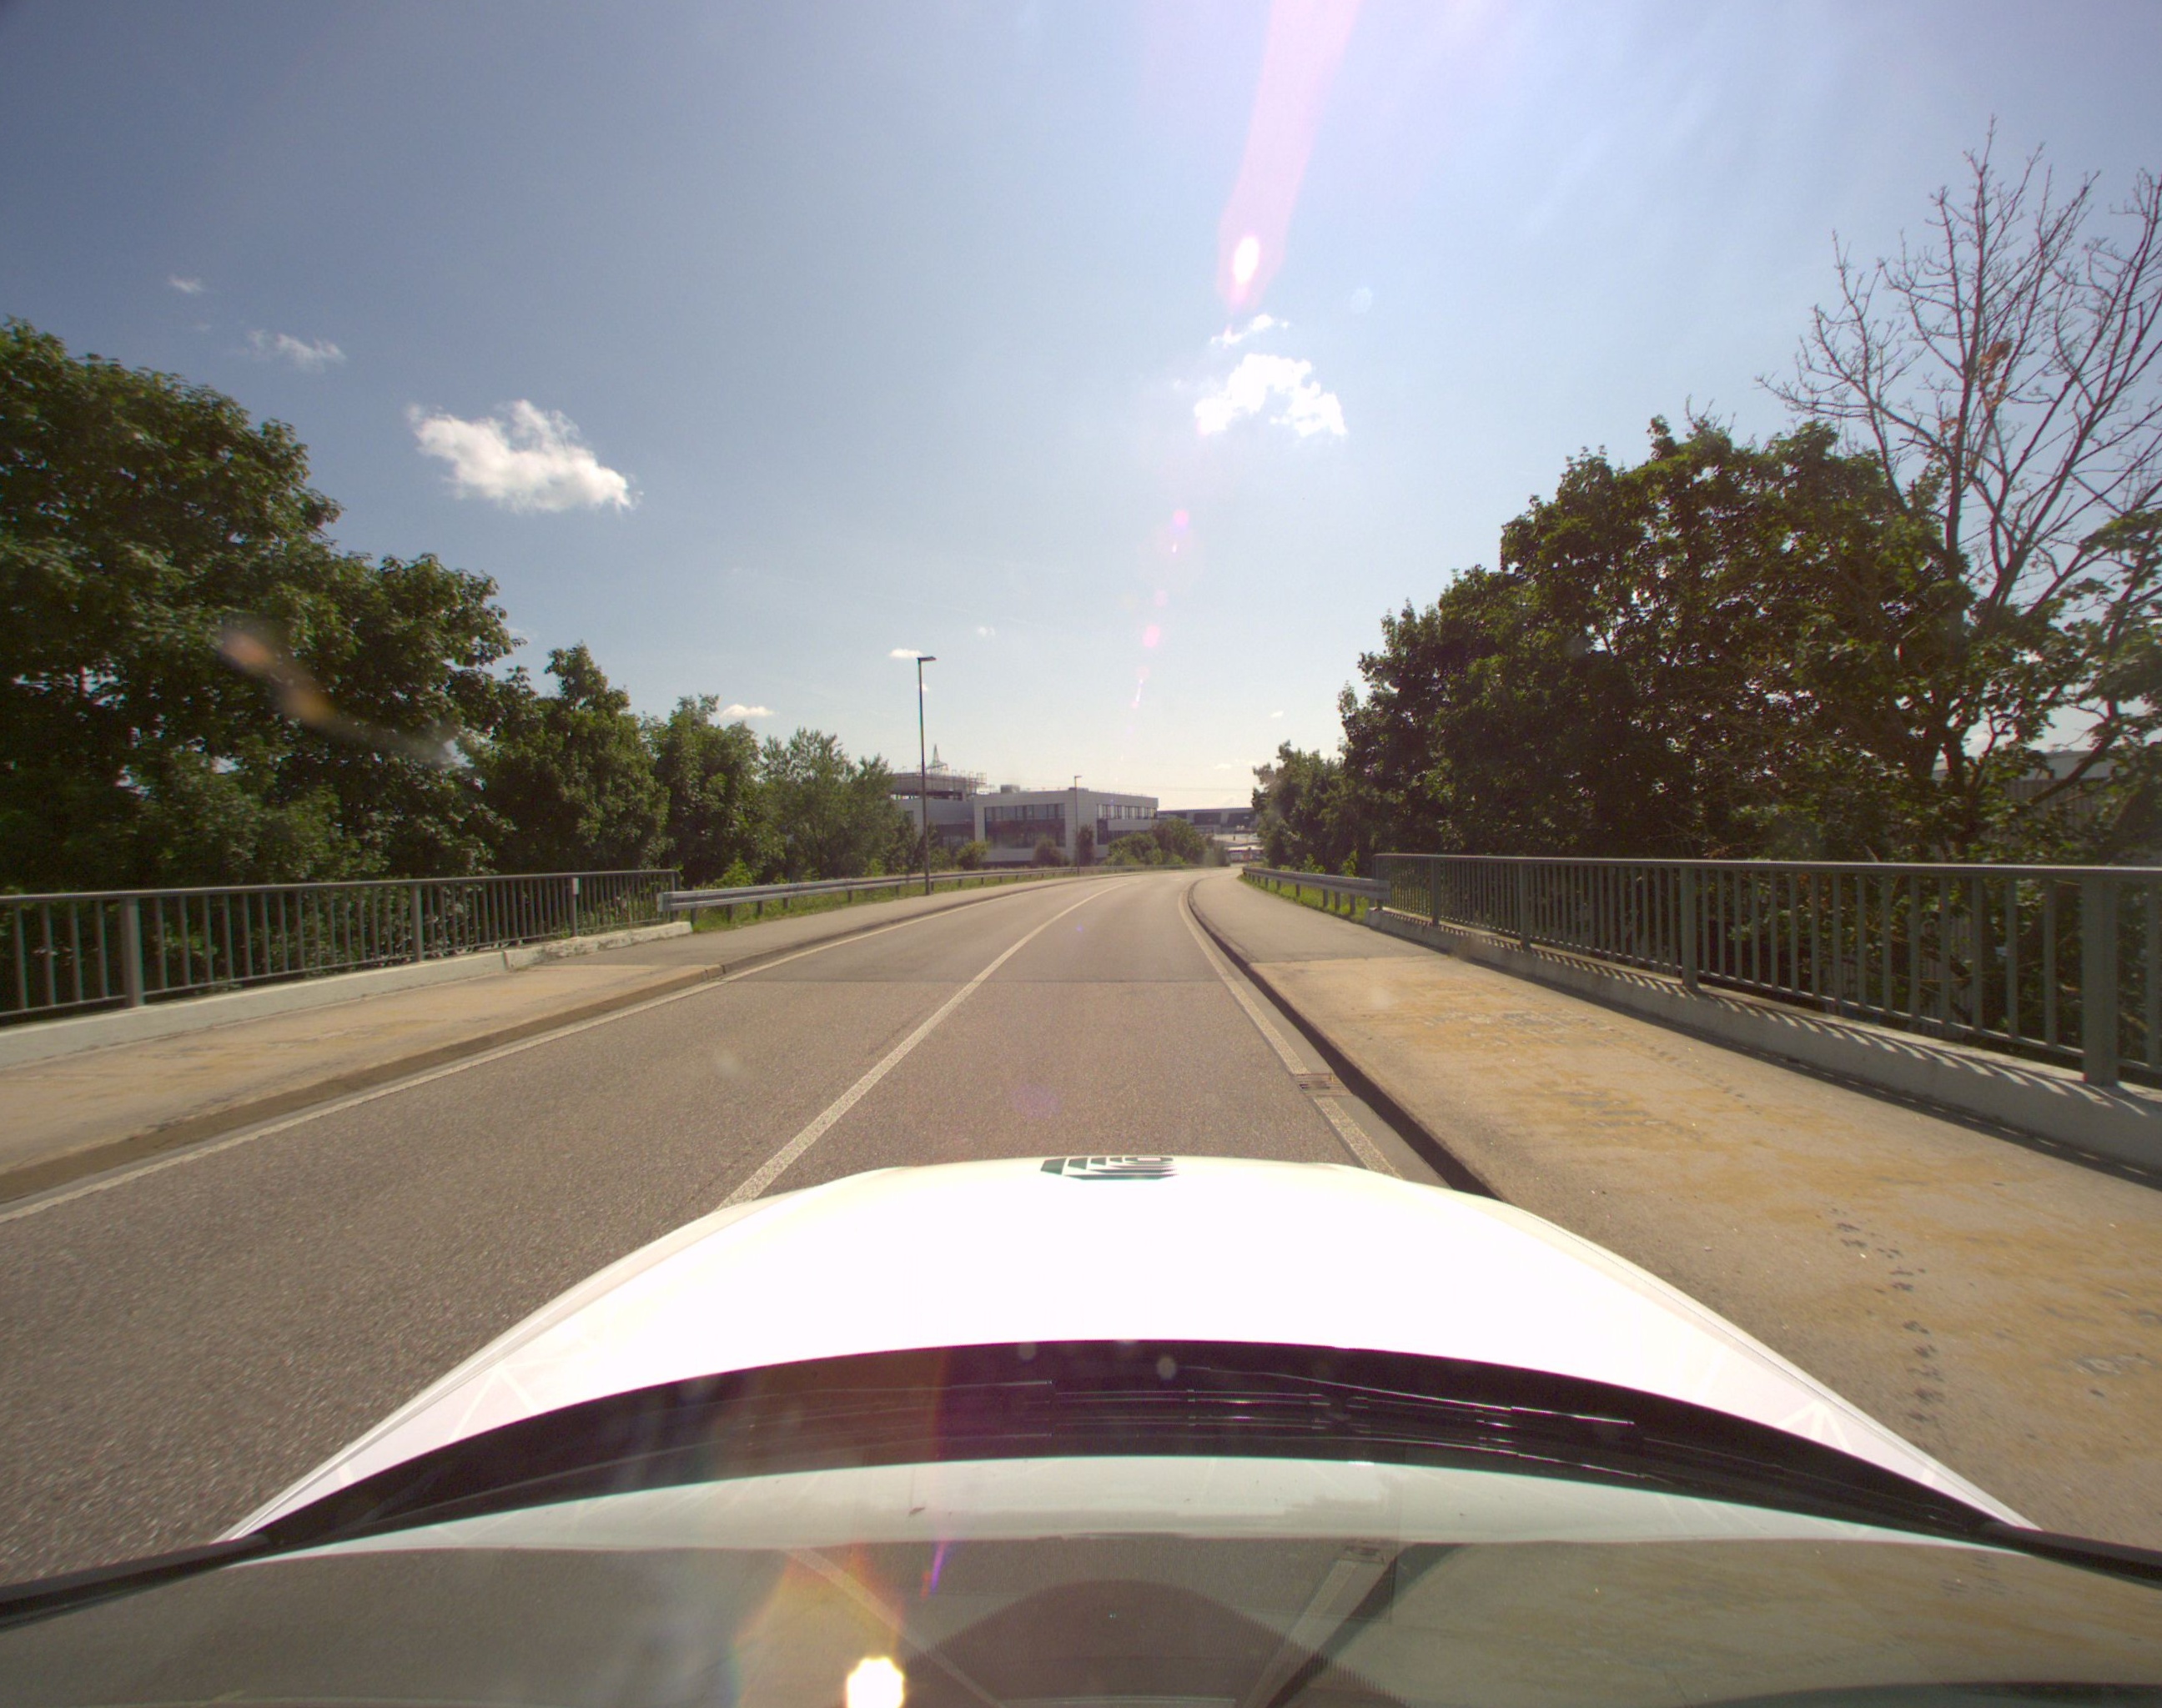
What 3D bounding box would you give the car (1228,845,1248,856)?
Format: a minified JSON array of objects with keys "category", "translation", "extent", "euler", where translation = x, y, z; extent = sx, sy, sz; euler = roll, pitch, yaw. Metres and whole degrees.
[{"category":"car","translation":[37.713,-0.835,195.638],"extent":[2.010,2.608,4.315],"euler":[0,0,-39]}]
